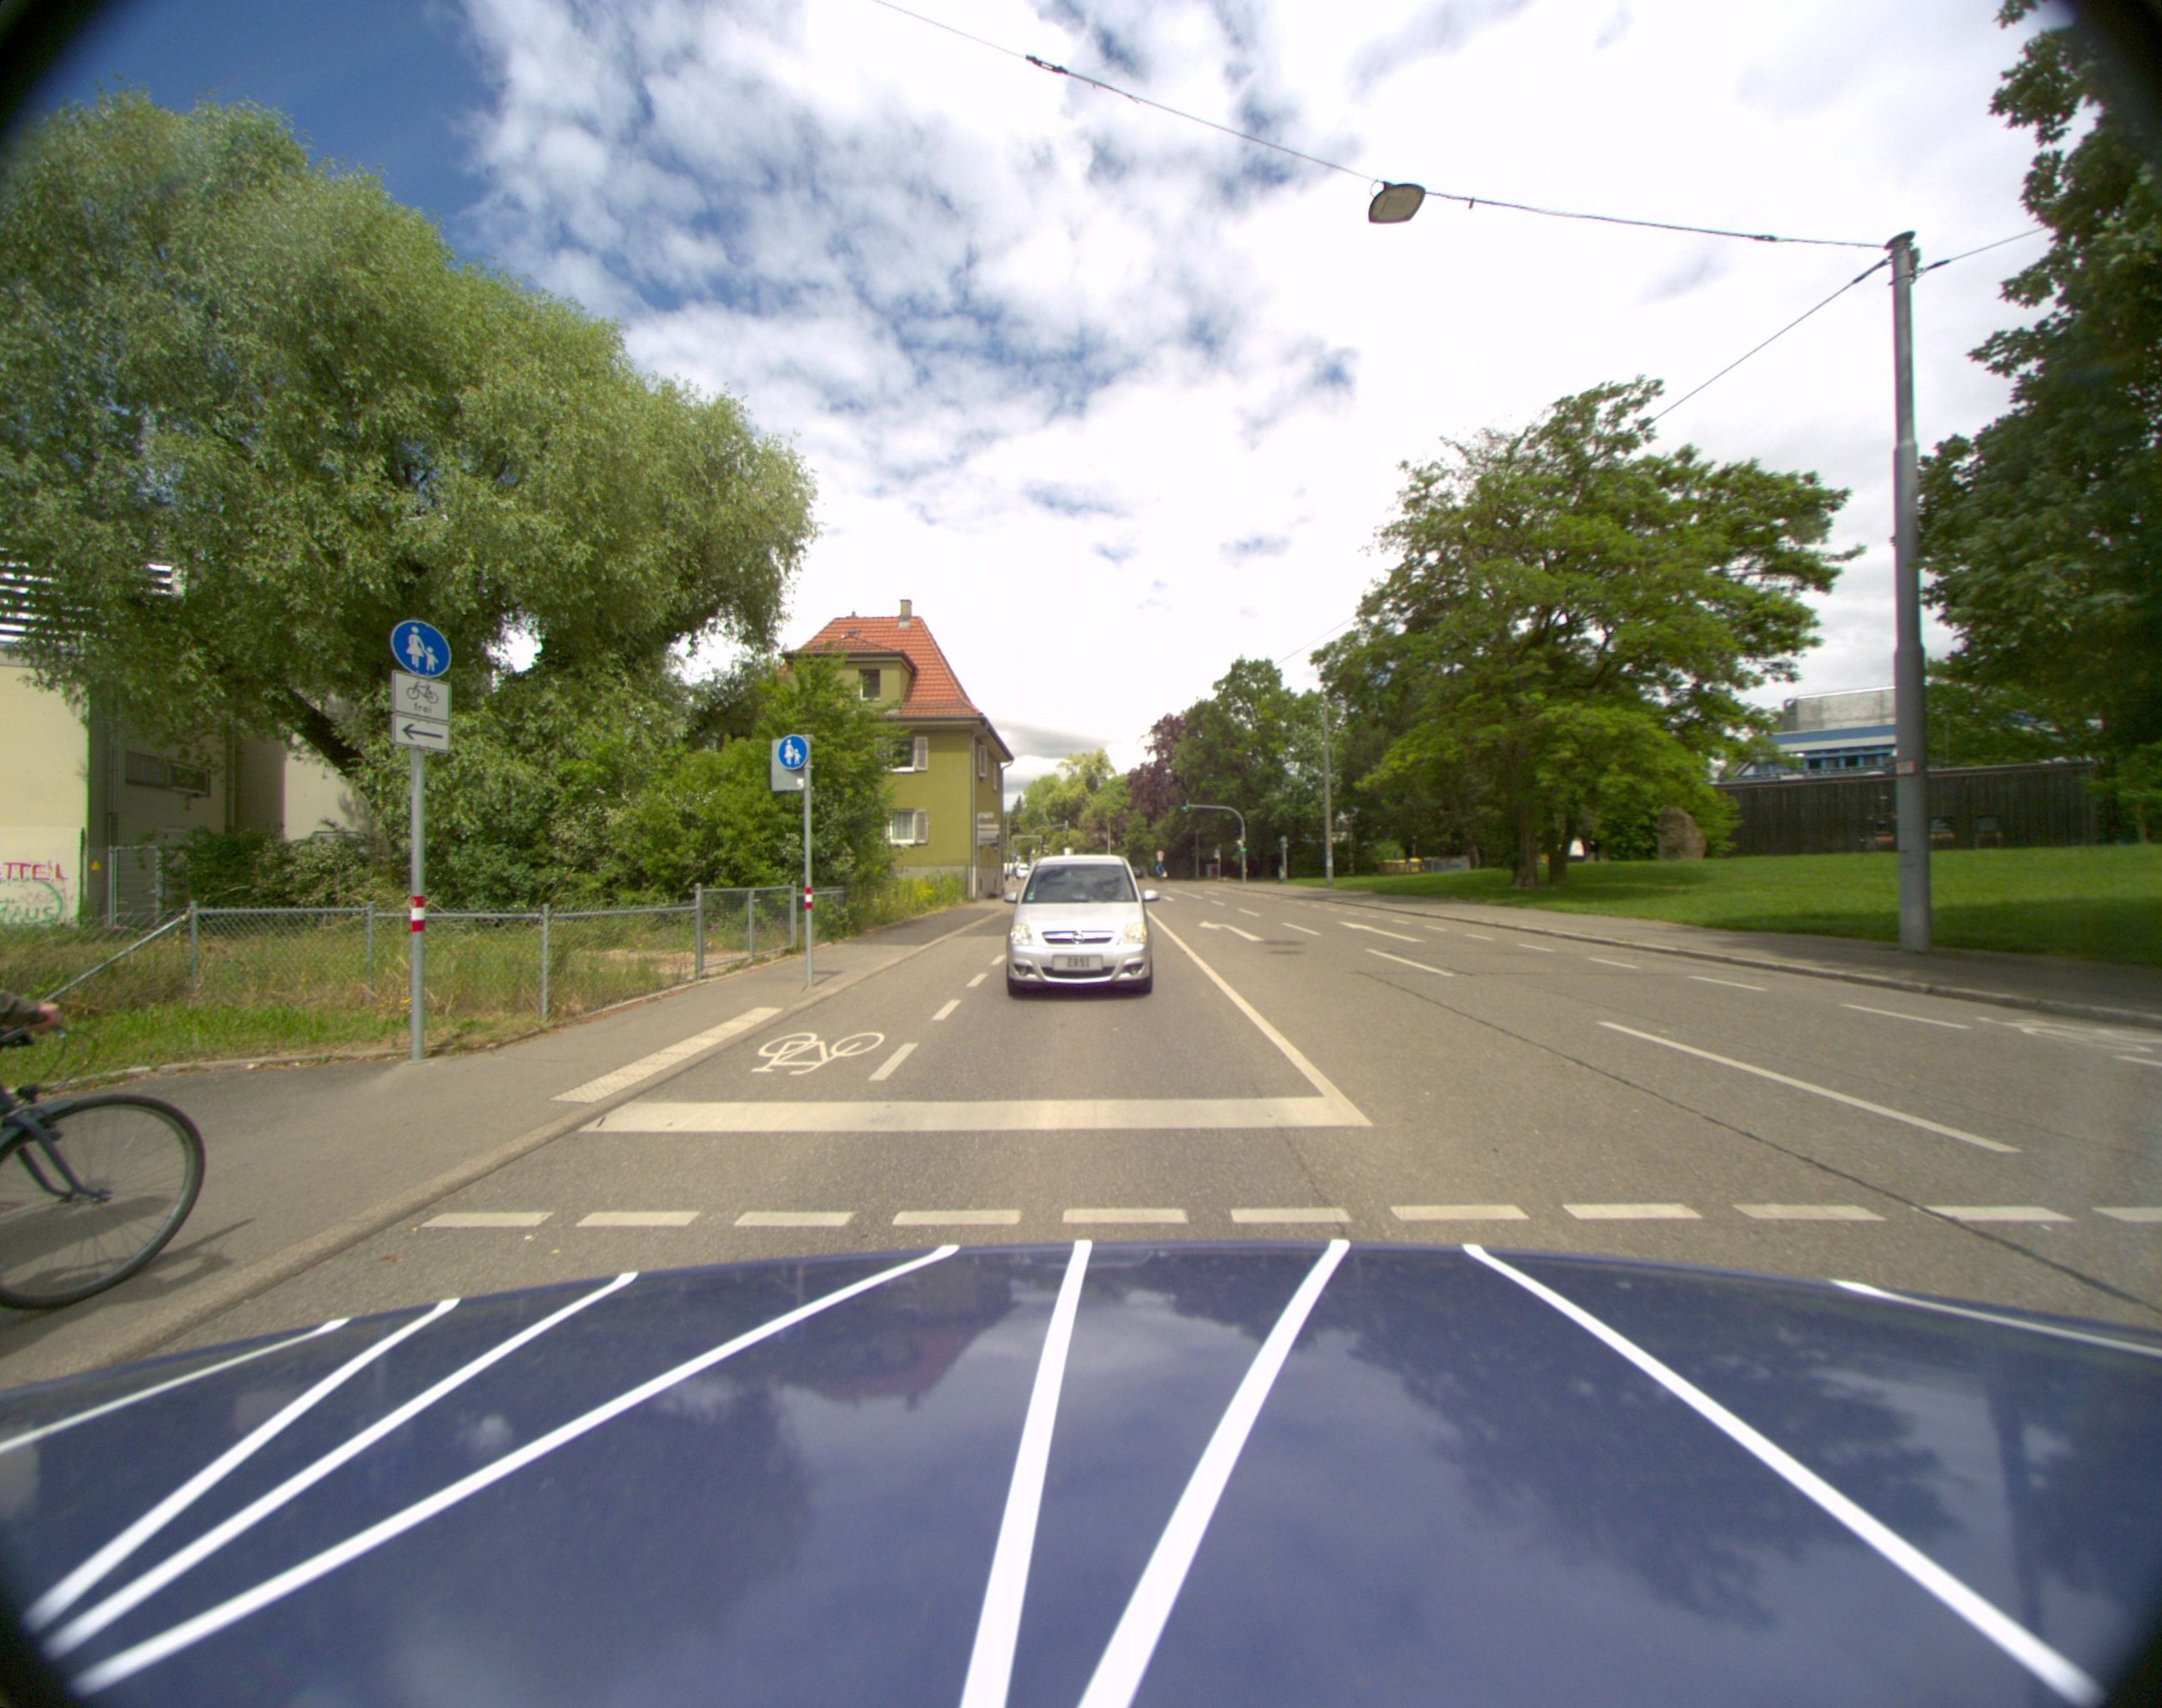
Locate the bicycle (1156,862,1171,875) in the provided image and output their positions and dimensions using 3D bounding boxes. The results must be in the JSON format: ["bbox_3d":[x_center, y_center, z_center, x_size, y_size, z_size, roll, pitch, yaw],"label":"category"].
[{"bbox_3d":[7.300,1.314,67.345,0.814,1.101,1.798,-2,0,-12],"label":"bicycle"}]

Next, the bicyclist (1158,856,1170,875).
[{"bbox_3d":[7.319,0.994,67.204,0.808,1.599,0.771,-2,0,-12],"label":"bicyclist"}]

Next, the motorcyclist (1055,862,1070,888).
[{"bbox_3d":[-1.129,1.259,46.294,0.837,1.547,0.650,1,0,0],"label":"motorcyclist"}]

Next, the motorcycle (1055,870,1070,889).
[{"bbox_3d":[-1.122,1.561,46.272,0.837,1.101,1.800,1,0,0],"label":"motorcycle"}]

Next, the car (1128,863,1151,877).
[{"bbox_3d":[6.465,1.781,84.568,1.900,1.501,3.998,0,-1,-6],"label":"car"}]

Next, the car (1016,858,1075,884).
[{"bbox_3d":[-2.773,1.305,59.522,4.358,1.983,2.004,0,0,38],"label":"car"}]

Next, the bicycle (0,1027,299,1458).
[{"bbox_3d":[-3.537,1.201,1.996,0.934,1.034,1.915,-1,1,1],"label":"bicycle"}]

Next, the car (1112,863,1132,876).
[{"bbox_3d":[5.045,1.892,93.649,1.900,1.501,3.998,0,-1,-6],"label":"car"}]

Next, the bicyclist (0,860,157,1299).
[{"bbox_3d":[-3.545,0.649,1.960,0.934,1.240,1.102,-1,1,1],"label":"bicyclist"}]

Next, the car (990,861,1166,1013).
[{"bbox_3d":[0.040,0.875,9.819,1.780,1.519,4.001,-1,0,2],"label":"car"}]

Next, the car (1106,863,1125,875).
[{"bbox_3d":[4.402,1.899,98.710,1.900,1.501,3.998,0,-1,-6],"label":"car"}]
